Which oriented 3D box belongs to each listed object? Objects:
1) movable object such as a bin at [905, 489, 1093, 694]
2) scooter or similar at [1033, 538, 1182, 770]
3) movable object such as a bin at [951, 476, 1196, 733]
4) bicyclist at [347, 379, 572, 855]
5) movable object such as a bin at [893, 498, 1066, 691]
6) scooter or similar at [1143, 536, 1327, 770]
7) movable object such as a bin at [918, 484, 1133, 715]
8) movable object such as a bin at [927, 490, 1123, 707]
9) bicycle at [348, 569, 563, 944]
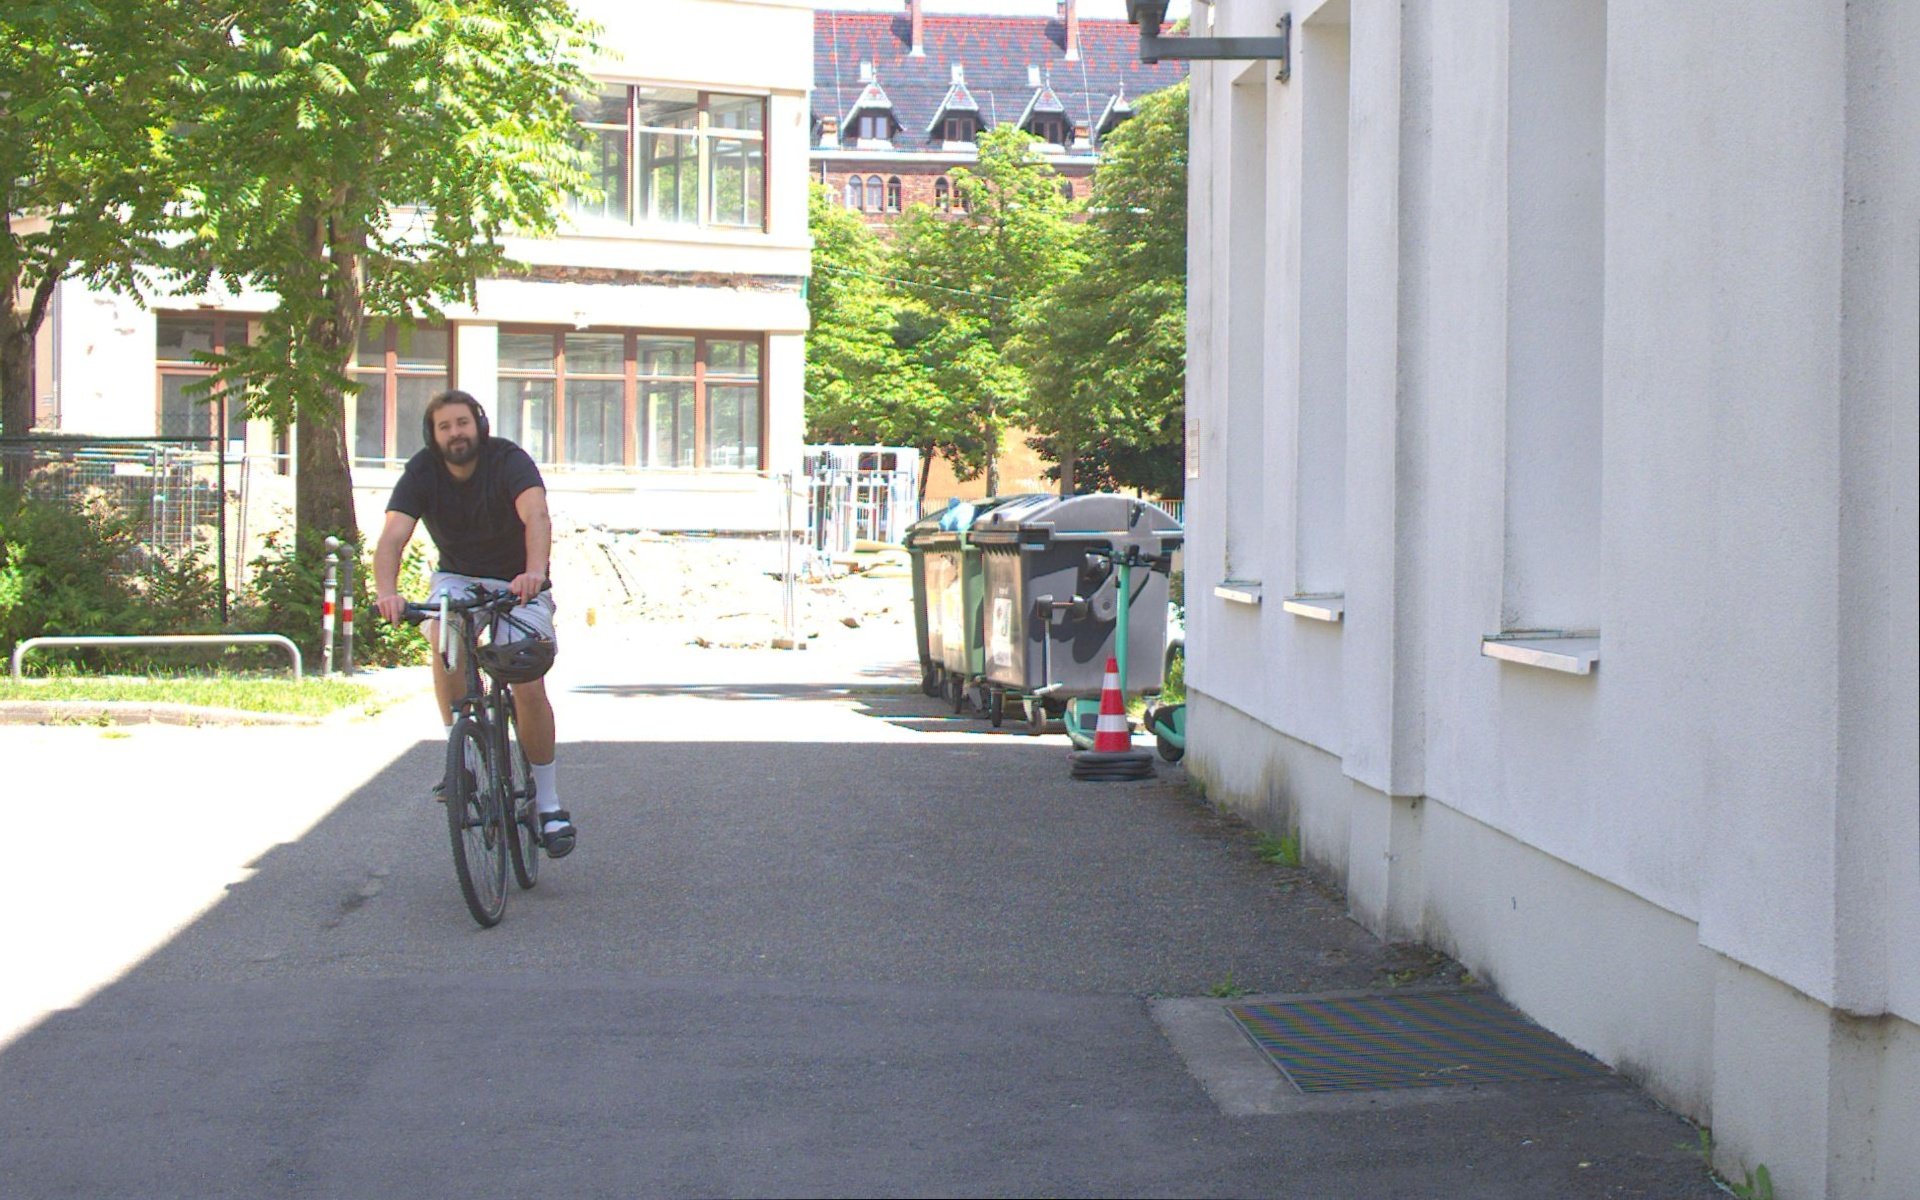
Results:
[{"bbox_3d":[0.275,-0.067,25.438,1.178,1.465,1.312,1,0,-9],"label":"movable object such as a bin"},{"bbox_3d":[0.762,0.262,18.086,0.463,1.170,1.357,0,1,-12],"label":"scooter or similar"},{"bbox_3d":[0.667,0.024,20.891,1.154,1.500,1.463,1,0,-12],"label":"movable object such as a bin"},{"bbox_3d":[-1.749,0.046,12.126,0.722,1.603,0.978,1,2,-5],"label":"bicyclist"},{"bbox_3d":[0.166,-0.053,26.974,1.179,1.465,1.332,1,0,8],"label":"movable object such as a bin"},{"bbox_3d":[1.420,0.253,17.906,0.463,1.170,1.256,0,1,-20],"label":"scooter or similar"},{"bbox_3d":[0.415,-0.005,22.615,1.178,1.465,1.312,1,0,-9],"label":"movable object such as a bin"},{"bbox_3d":[0.435,-0.015,24.003,1.178,1.465,1.312,1,0,-7],"label":"movable object such as a bin"},{"bbox_3d":[-1.752,0.504,12.154,0.643,1.170,1.905,0,2,-5],"label":"bicycle"}]
